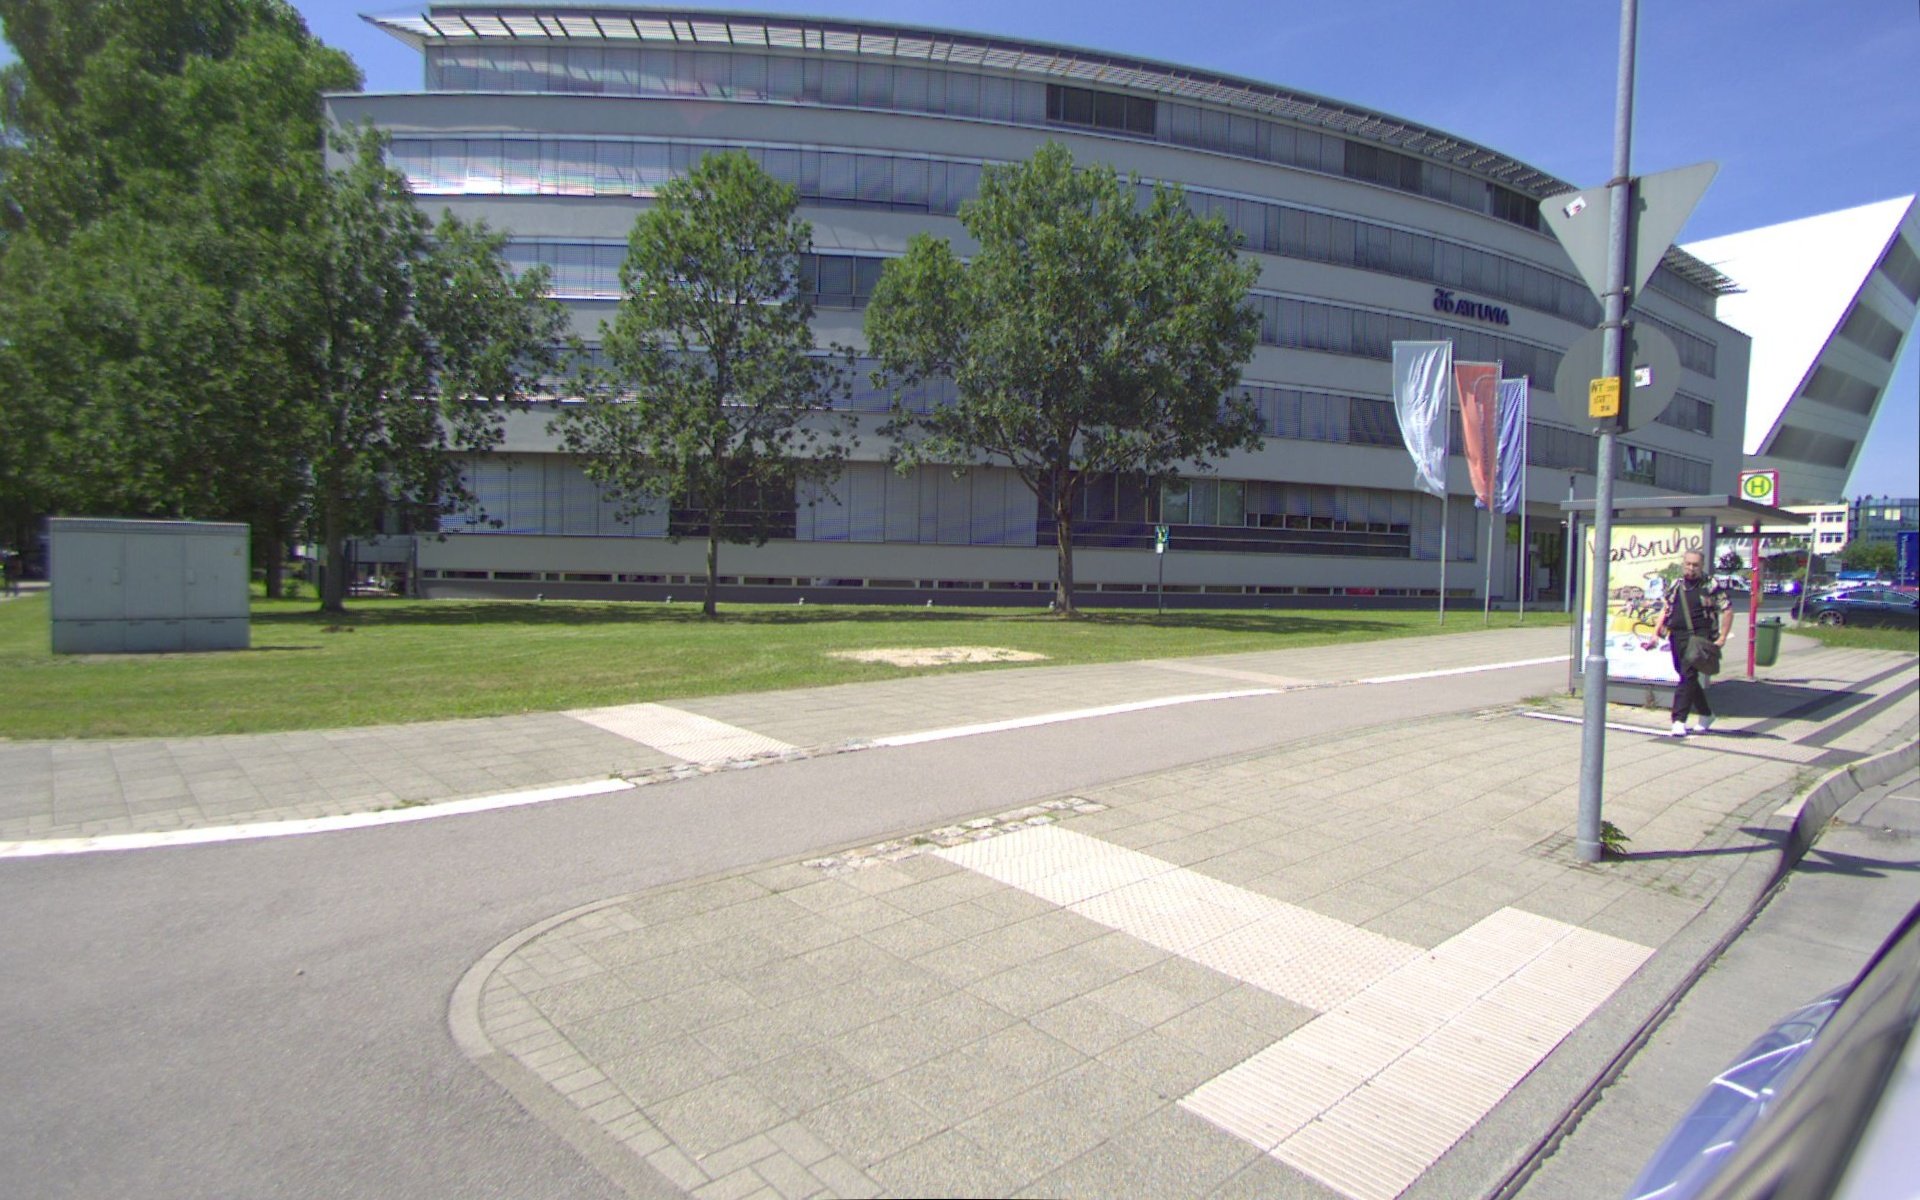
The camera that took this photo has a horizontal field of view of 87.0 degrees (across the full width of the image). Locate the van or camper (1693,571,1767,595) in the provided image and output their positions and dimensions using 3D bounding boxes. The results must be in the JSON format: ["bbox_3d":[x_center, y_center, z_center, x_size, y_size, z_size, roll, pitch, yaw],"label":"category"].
[{"bbox_3d":[77.479,-1.738,101.910,1.671,2.420,5.706,0,1,-35],"label":"van or camper"}]

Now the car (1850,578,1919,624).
[{"bbox_3d":[33.188,0.066,34.664,1.626,1.504,3.817,-1,3,-40],"label":"car"}]

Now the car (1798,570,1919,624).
[{"bbox_3d":[30.990,-0.110,34.045,1.807,1.675,3.996,-1,3,-40],"label":"car"}]

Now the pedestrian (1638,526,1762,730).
[{"bbox_3d":[7.107,0.236,9.719,0.812,1.844,0.709,-1,4,-42],"label":"pedestrian"}]

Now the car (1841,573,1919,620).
[{"bbox_3d":[34.772,-0.075,36.464,1.755,1.582,4.330,-1,4,-41],"label":"car"}]

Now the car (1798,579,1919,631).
[{"bbox_3d":[29.432,0.176,31.784,1.797,1.449,4.573,-1,5,-44],"label":"car"}]

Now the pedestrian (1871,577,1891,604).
[{"bbox_3d":[56.843,-0.578,62.483,0.763,1.681,0.843,-1,1,-43],"label":"pedestrian"}]

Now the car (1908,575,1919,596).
[{"bbox_3d":[100.018,-1.443,101.774,2.124,2.176,6.500,-1,1,-35],"label":"car"}]

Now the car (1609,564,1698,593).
[{"bbox_3d":[68.448,-2.122,100.043,2.211,2.695,6.973,0,1,-34],"label":"car"}]

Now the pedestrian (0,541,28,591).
[{"bbox_3d":[-31.298,-1.121,33.349,0.631,1.628,0.573,0,1,-11],"label":"pedestrian"}]
